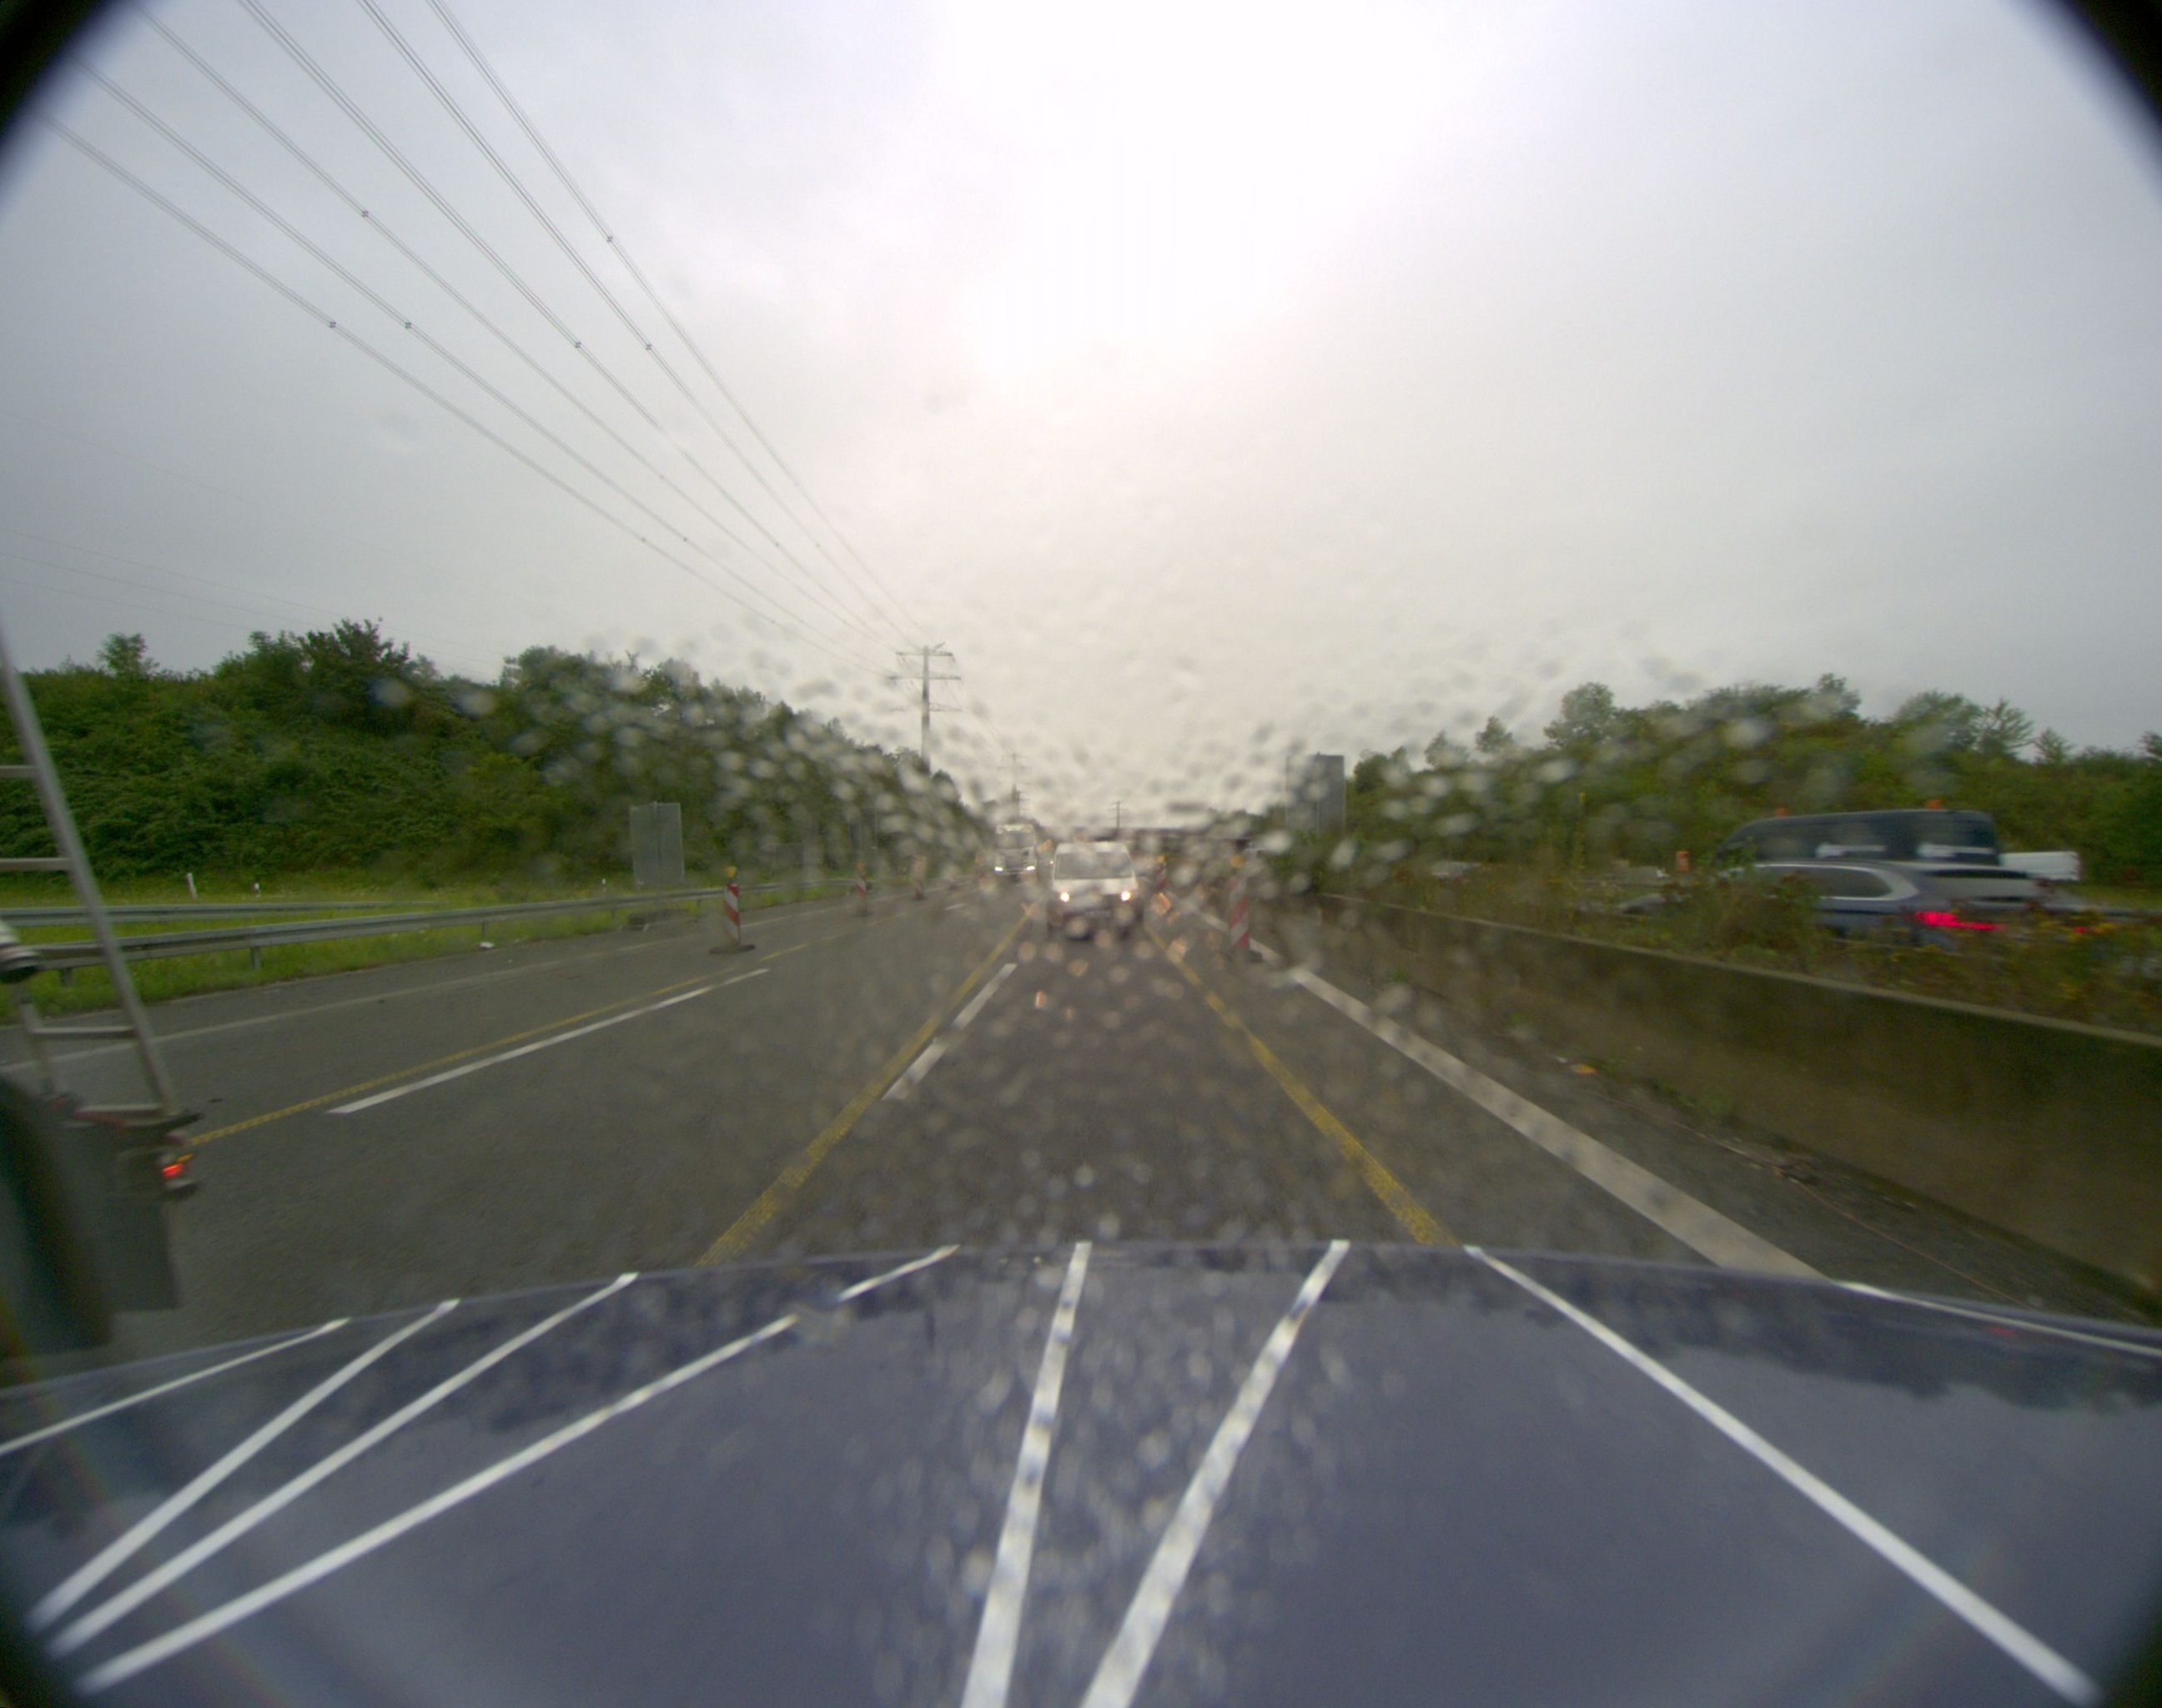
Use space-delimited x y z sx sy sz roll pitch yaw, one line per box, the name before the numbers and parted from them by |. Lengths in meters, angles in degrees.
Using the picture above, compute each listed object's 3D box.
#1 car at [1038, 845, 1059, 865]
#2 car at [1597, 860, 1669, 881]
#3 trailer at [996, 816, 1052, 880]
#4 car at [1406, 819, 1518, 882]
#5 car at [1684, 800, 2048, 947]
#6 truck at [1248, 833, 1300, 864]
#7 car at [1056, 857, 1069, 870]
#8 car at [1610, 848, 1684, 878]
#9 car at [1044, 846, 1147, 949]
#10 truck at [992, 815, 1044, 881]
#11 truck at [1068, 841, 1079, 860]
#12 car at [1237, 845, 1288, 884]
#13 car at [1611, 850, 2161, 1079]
car | -3.489 0.101 81.645 1.998 2.002 3.999 -2 1 1
car | 38.743 1.126 53.329 3.988 1.395 1.924 1 1 38
trailer | -3.872 -0.507 55.127 2.808 3.980 14.146 -2 1 0
car | 13.291 -0.155 26.819 1.998 2.002 4.000 -2 1 2
car | 16.506 0.305 16.654 2.055 2.594 5.846 -2 1 2
truck | 23.569 -0.610 93.720 2.898 3.598 14.581 0 0 1
car | -3.107 1.616 131.042 1.998 2.002 3.999 -2 1 1
car | 39.661 0.625 53.265 3.988 2.002 2.004 1 1 42
car | 0.218 0.751 15.638 1.770 1.774 4.646 -1 0 -1
truck | -3.933 -0.394 48.758 2.748 3.912 5.396 -2 1 0
truck | -1.764 -0.946 177.471 2.276 3.686 6.647 -2 7 1
car | 10.120 0.523 42.795 1.772 2.002 5.254 -1 1 2
car | 9.012 0.982 9.141 1.998 1.948 4.671 -2 1 0
